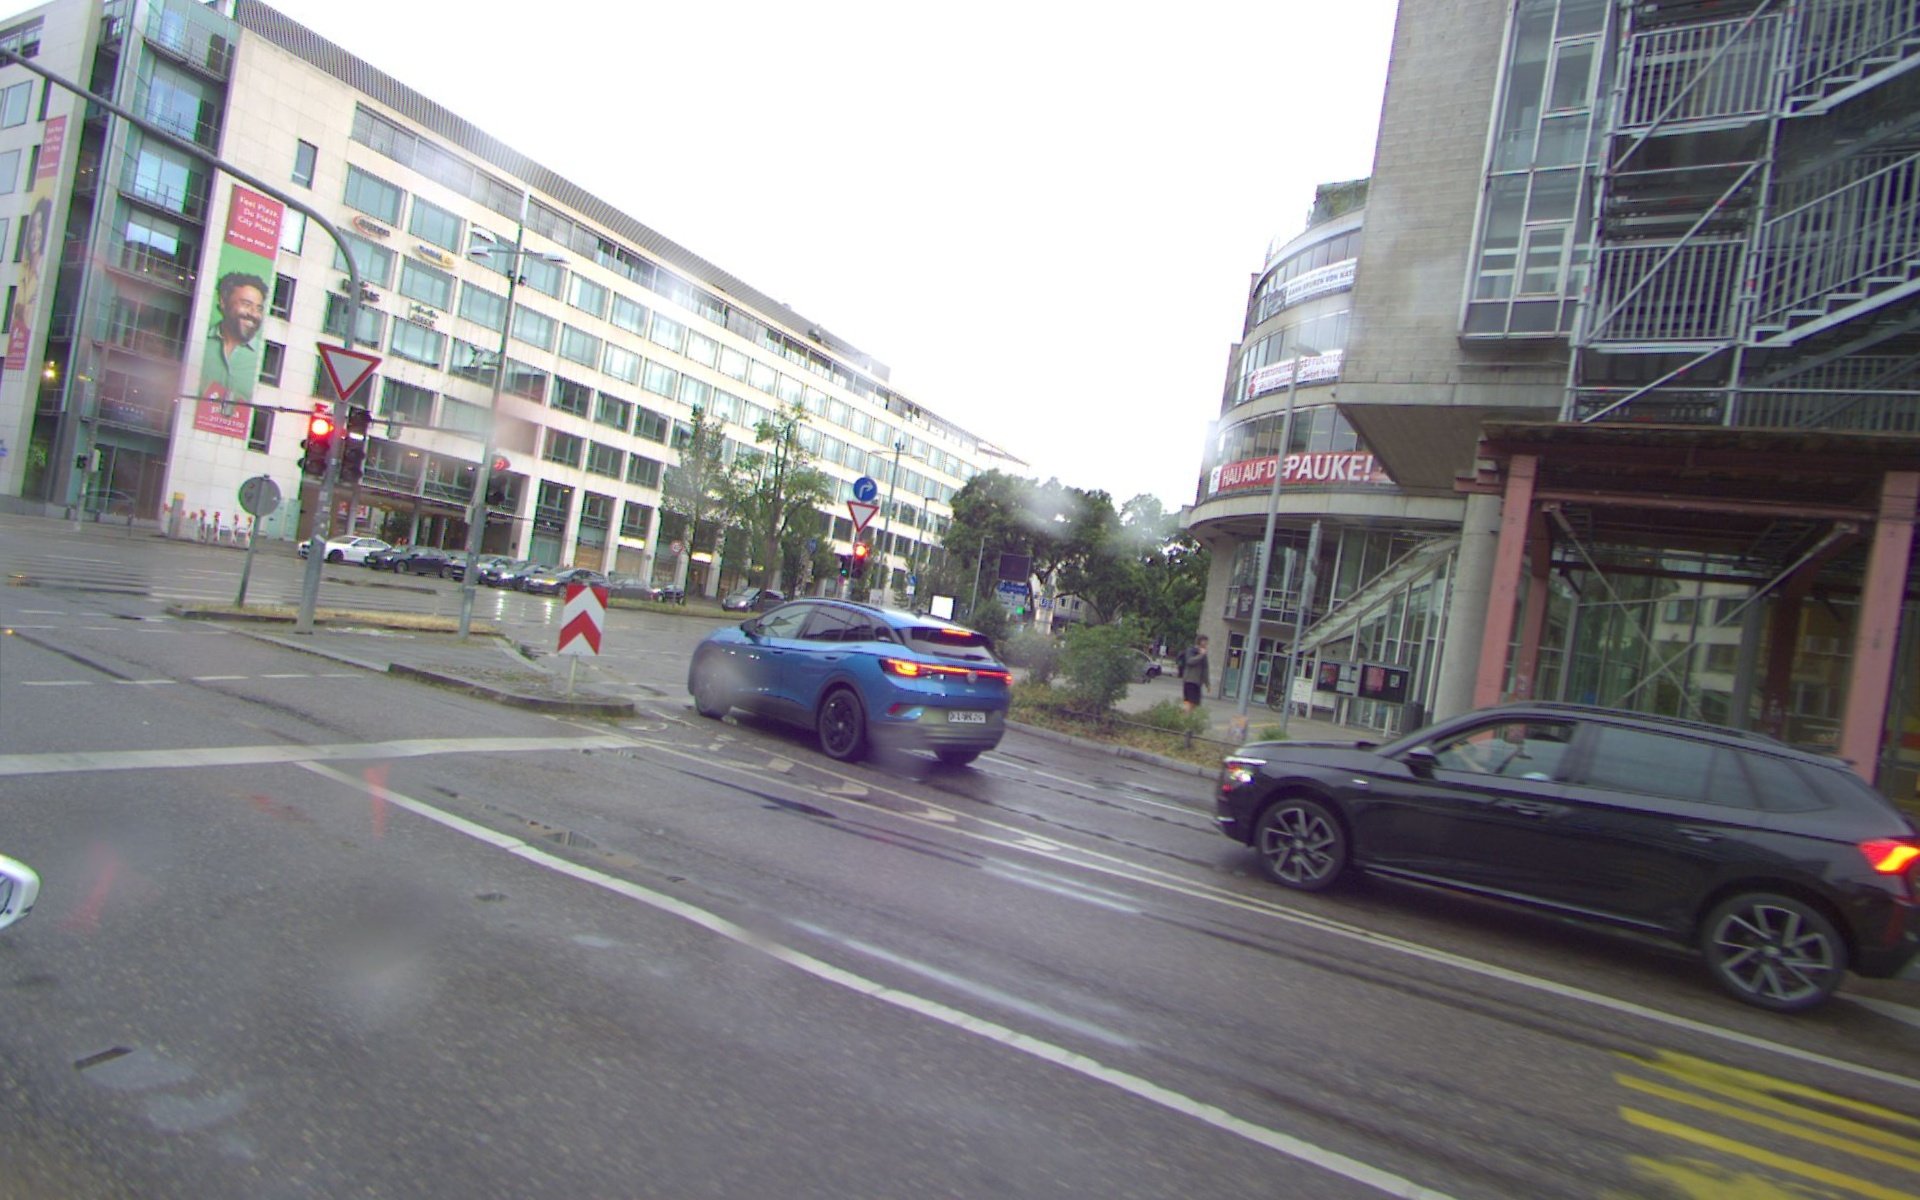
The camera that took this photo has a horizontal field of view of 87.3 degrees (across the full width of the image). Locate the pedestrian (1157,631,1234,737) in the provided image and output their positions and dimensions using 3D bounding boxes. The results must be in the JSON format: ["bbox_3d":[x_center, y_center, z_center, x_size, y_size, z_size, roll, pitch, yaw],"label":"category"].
[{"bbox_3d":[4.516,1.607,19.361,0.676,1.874,1.045,7,0,-37],"label":"pedestrian"}]

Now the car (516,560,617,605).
[{"bbox_3d":[-17.879,-0.753,45.920,1.690,1.481,4.468,7,-2,19],"label":"car"}]

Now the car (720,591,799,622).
[{"bbox_3d":[-13.106,0.441,65.689,4.598,1.364,1.914,9,-1,-28],"label":"car"}]

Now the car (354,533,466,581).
[{"bbox_3d":[-26.505,-2.035,48.661,1.963,1.616,4.468,7,-1,20],"label":"car"}]

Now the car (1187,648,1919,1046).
[{"bbox_3d":[3.932,1.420,7.012,4.080,1.558,1.781,7,-1,34],"label":"car"}]

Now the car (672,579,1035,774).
[{"bbox_3d":[-1.399,0.775,11.461,1.699,1.547,4.373,9,-2,-43],"label":"car"}]

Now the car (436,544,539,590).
[{"bbox_3d":[-23.177,-1.563,49.586,1.962,1.616,4.469,8,-1,17],"label":"car"}]

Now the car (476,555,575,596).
[{"bbox_3d":[-20.451,-1.118,47.537,1.690,1.364,4.469,8,-2,17],"label":"car"}]

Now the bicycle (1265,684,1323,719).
[{"bbox_3d":[12.090,3.666,36.467,1.816,0.995,0.757,8,-1,12],"label":"bicycle"}]

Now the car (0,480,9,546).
[{"bbox_3d":[-24.856,-2.375,22.611,4.498,1.568,1.989,9,-1,-24],"label":"car"}]

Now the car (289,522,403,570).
[{"bbox_3d":[-29.950,-2.604,49.272,1.962,1.616,4.469,8,-1,17],"label":"car"}]

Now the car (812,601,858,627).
[{"bbox_3d":[-10.235,1.173,82.747,1.700,1.642,4.196,9,-1,22],"label":"car"}]

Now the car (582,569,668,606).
[{"bbox_3d":[-17.418,-0.622,52.501,1.890,1.364,4.655,8,-2,15],"label":"car"}]
